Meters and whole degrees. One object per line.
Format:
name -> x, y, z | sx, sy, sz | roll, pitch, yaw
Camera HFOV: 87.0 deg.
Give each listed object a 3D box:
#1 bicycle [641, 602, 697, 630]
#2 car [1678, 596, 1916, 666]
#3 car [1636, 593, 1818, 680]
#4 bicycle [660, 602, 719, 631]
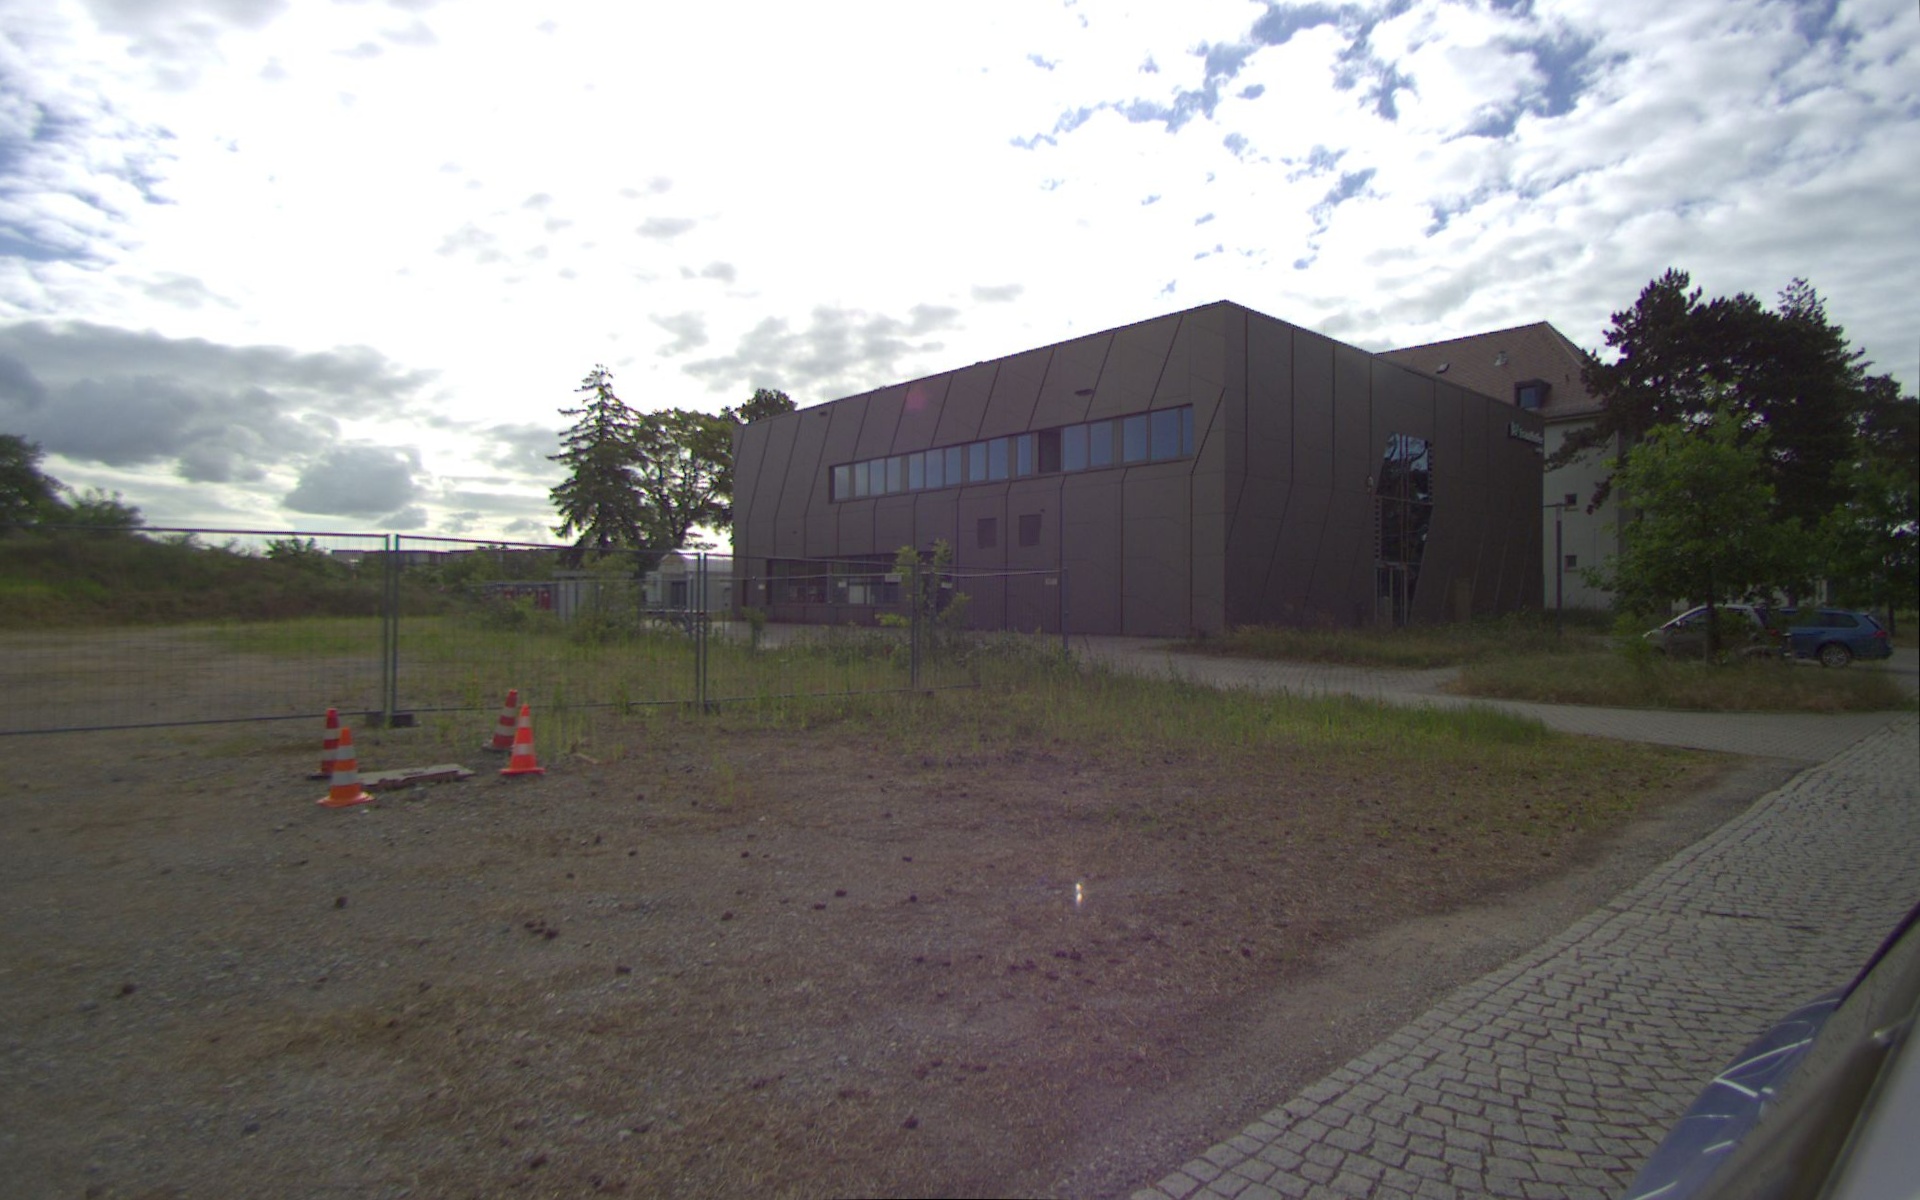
bicycle -> -11.455, 0.608, 39.823 | 1.953, 1.038, 0.835 | -1, 0, -40
car -> 21.519, 0.726, 26.167 | 1.899, 1.468, 4.531 | 0, 2, -43
car -> 16.129, 0.712, 21.347 | 1.653, 1.601, 2.746 | 0, 2, -41
bicycle -> -10.180, 0.603, 38.127 | 1.953, 1.038, 0.835 | -1, 0, -40
